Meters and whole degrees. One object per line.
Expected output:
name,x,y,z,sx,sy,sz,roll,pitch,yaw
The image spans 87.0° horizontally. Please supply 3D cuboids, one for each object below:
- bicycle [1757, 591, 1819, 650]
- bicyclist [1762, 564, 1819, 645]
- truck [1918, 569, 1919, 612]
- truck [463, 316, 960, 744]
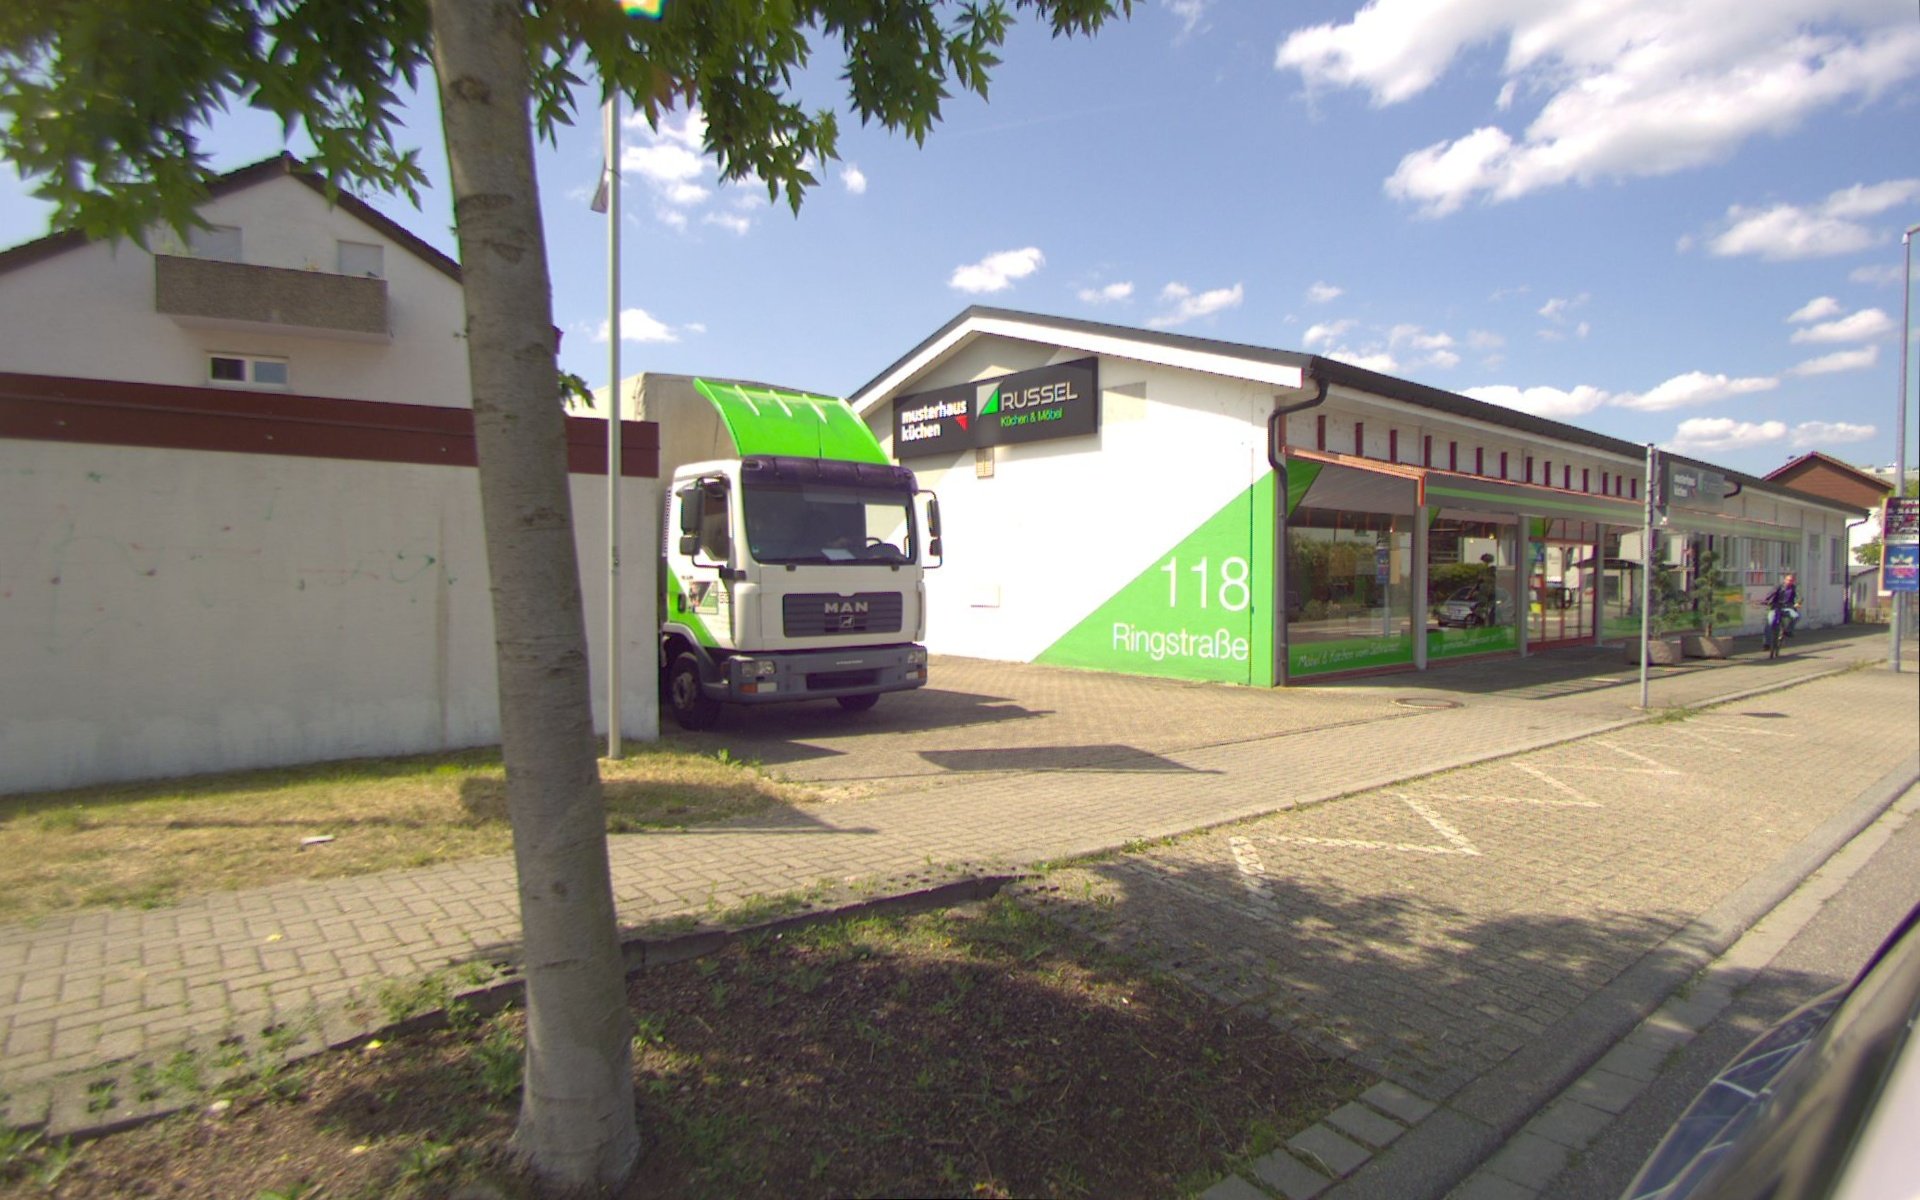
bicycle,17.466,0.408,21.335,1.911,1.179,0.804,-1,1,-45
bicyclist,17.377,0.073,21.171,1.093,1.650,0.804,0,1,-45
truck,44.992,-0.867,45.585,2.573,2.795,6.235,3,3,43
truck,-3.640,-0.690,12.562,2.631,3.616,8.187,-2,2,-40
